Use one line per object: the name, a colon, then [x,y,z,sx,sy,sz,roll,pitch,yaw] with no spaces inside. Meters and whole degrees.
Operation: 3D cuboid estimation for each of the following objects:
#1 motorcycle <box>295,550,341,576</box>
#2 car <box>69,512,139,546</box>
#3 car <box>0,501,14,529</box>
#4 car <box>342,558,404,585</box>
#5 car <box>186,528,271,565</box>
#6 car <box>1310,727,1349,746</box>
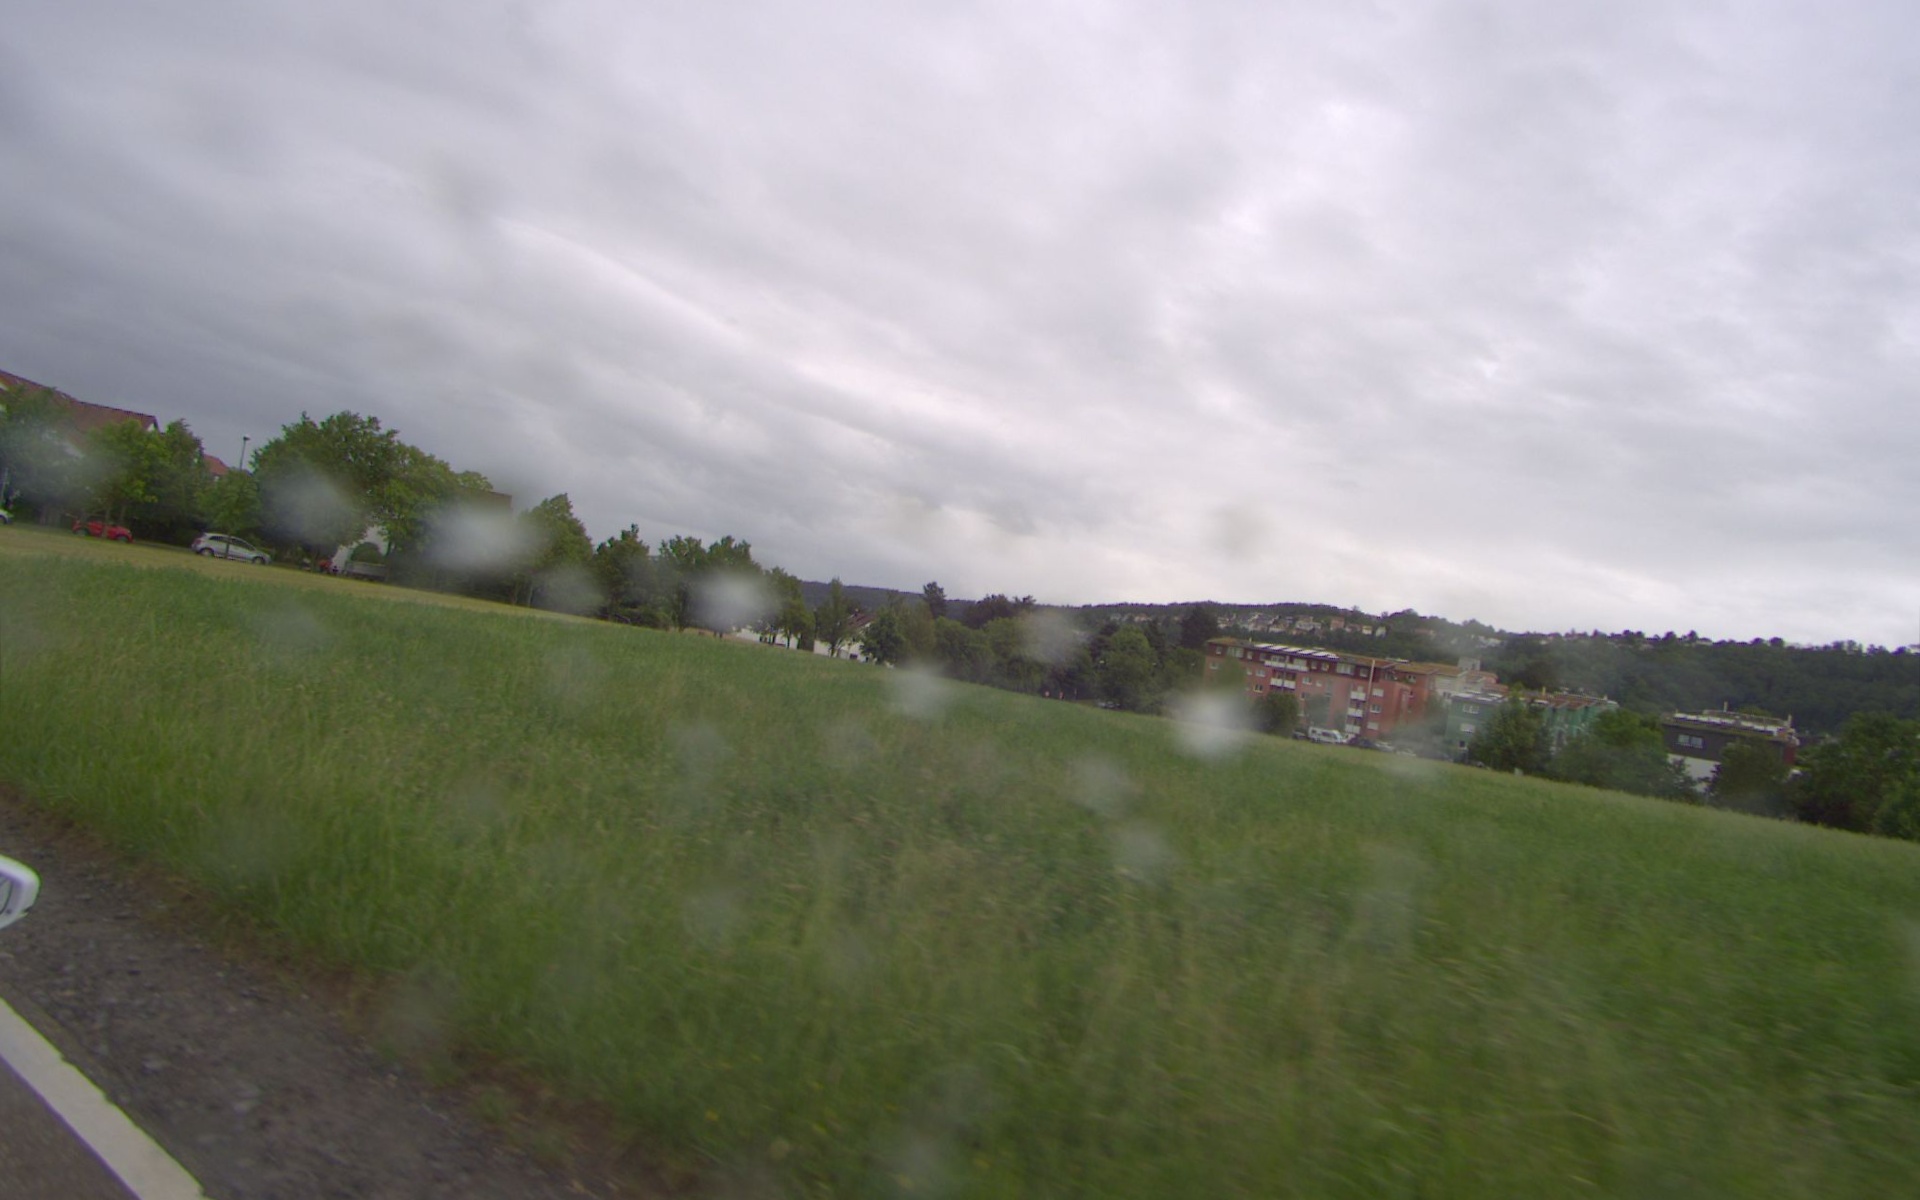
motorcycle: [-43.187,-2.470,67.696,0.958,1.316,2.256,7,-4,43]
car: [-51.130,-4.225,60.133,2.994,1.451,1.536,11,-4,-41]
car: [-55.333,-5.026,56.107,3.532,1.495,1.661,10,-4,-41]
car: [-41.033,-1.968,70.384,1.711,1.295,3.315,6,-4,43]
car: [-46.883,-3.421,64.519,1.828,1.568,3.975,6,-5,44]
car: [57.163,21.164,155.830,1.988,2.036,5.219,10,-4,-42]
